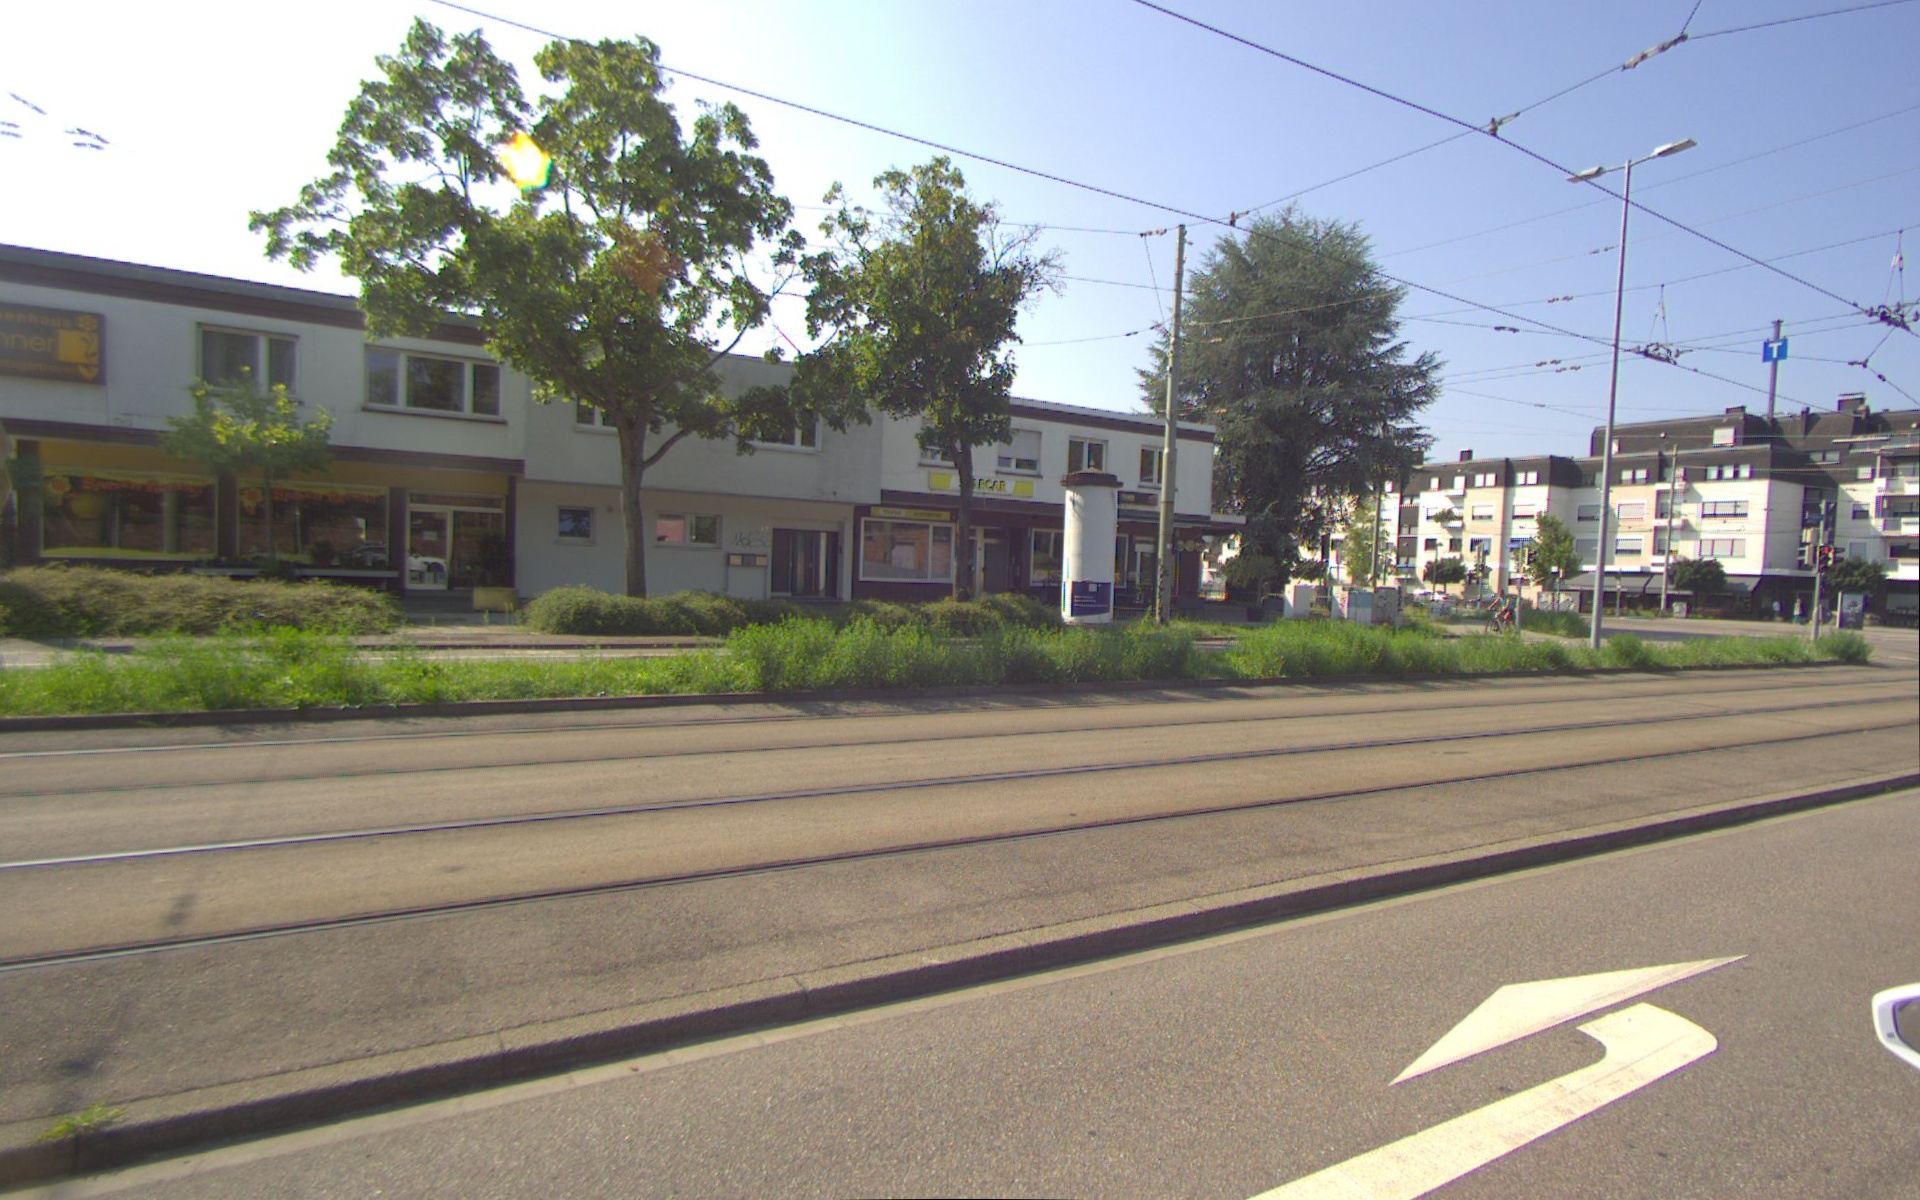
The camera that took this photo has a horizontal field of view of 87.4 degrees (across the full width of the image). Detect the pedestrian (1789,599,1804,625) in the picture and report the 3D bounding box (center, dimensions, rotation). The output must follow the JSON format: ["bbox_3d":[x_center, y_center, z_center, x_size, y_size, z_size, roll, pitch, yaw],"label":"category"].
[{"bbox_3d":[56.618,0.797,67.969,0.589,1.768,0.565,2,1,26],"label":"pedestrian"}]

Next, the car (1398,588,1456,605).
[{"bbox_3d":[38.608,-0.284,83.092,1.654,1.317,4.087,1,0,-31],"label":"car"}]

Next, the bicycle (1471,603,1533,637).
[{"bbox_3d":[18.460,0.696,34.194,2.237,1.106,0.712,1,1,-29],"label":"bicycle"}]

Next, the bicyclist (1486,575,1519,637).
[{"bbox_3d":[18.467,0.206,34.193,0.764,2.092,0.635,1,1,-27],"label":"bicyclist"}]

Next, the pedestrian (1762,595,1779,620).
[{"bbox_3d":[58.041,0.522,71.919,0.690,1.764,0.676,1,1,-30],"label":"pedestrian"}]
